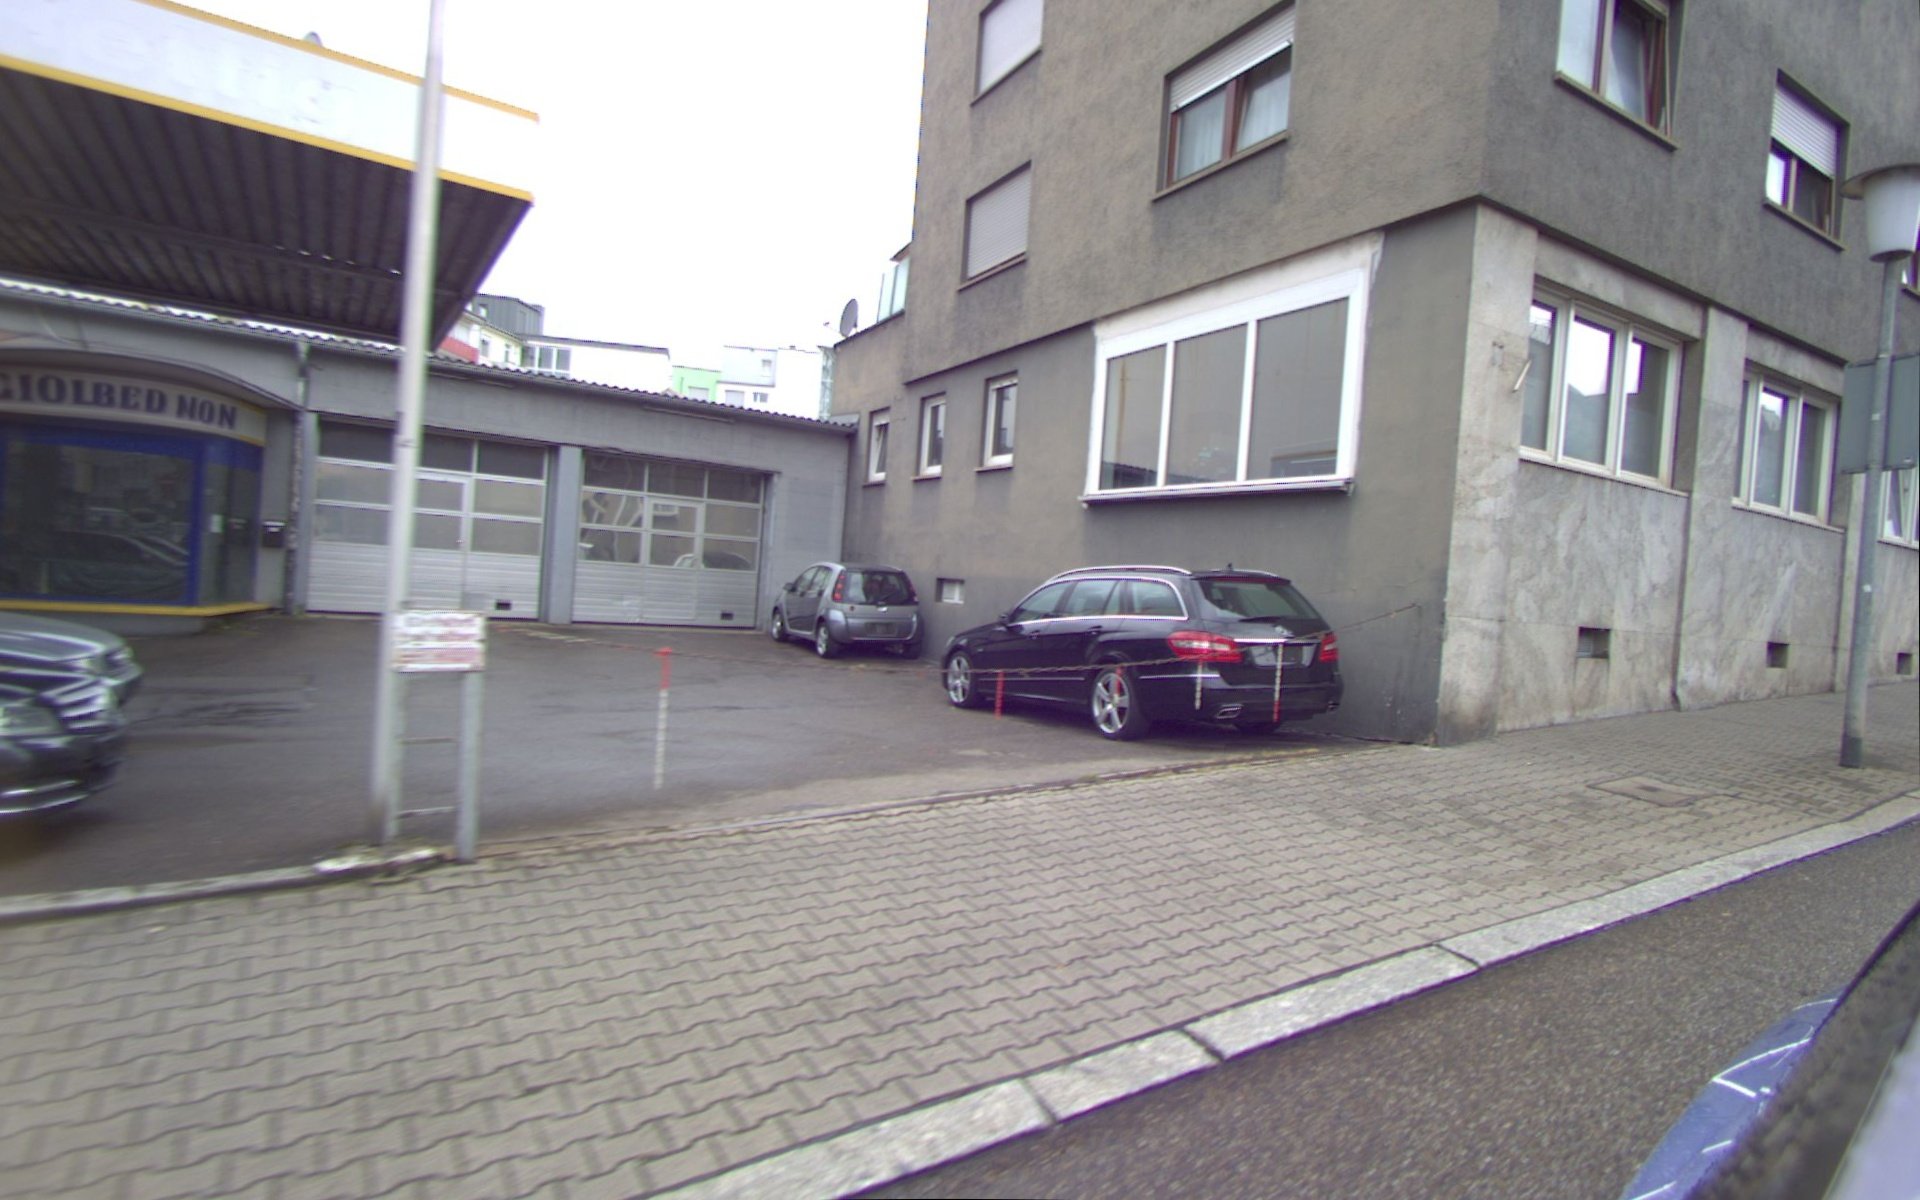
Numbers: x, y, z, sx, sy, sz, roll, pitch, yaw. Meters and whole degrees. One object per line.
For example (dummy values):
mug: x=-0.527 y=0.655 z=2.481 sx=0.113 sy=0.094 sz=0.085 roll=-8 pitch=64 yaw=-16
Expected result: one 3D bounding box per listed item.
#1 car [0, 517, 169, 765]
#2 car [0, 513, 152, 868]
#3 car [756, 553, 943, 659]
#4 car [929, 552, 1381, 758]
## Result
car: x=-7.749 y=0.174 z=6.214 sx=4.331 sy=1.530 sz=1.797 roll=2 pitch=2 yaw=-32
car: x=-6.201 y=0.354 z=4.112 sx=4.349 sy=1.530 sz=1.796 roll=0 pitch=3 yaw=-31
car: x=-1.987 y=0.039 z=17.123 sx=1.758 sy=1.471 sz=3.762 roll=2 pitch=3 yaw=-29
car: x=1.573 y=0.359 z=9.968 sx=1.959 sy=1.523 sz=4.543 roll=0 pitch=1 yaw=-28
